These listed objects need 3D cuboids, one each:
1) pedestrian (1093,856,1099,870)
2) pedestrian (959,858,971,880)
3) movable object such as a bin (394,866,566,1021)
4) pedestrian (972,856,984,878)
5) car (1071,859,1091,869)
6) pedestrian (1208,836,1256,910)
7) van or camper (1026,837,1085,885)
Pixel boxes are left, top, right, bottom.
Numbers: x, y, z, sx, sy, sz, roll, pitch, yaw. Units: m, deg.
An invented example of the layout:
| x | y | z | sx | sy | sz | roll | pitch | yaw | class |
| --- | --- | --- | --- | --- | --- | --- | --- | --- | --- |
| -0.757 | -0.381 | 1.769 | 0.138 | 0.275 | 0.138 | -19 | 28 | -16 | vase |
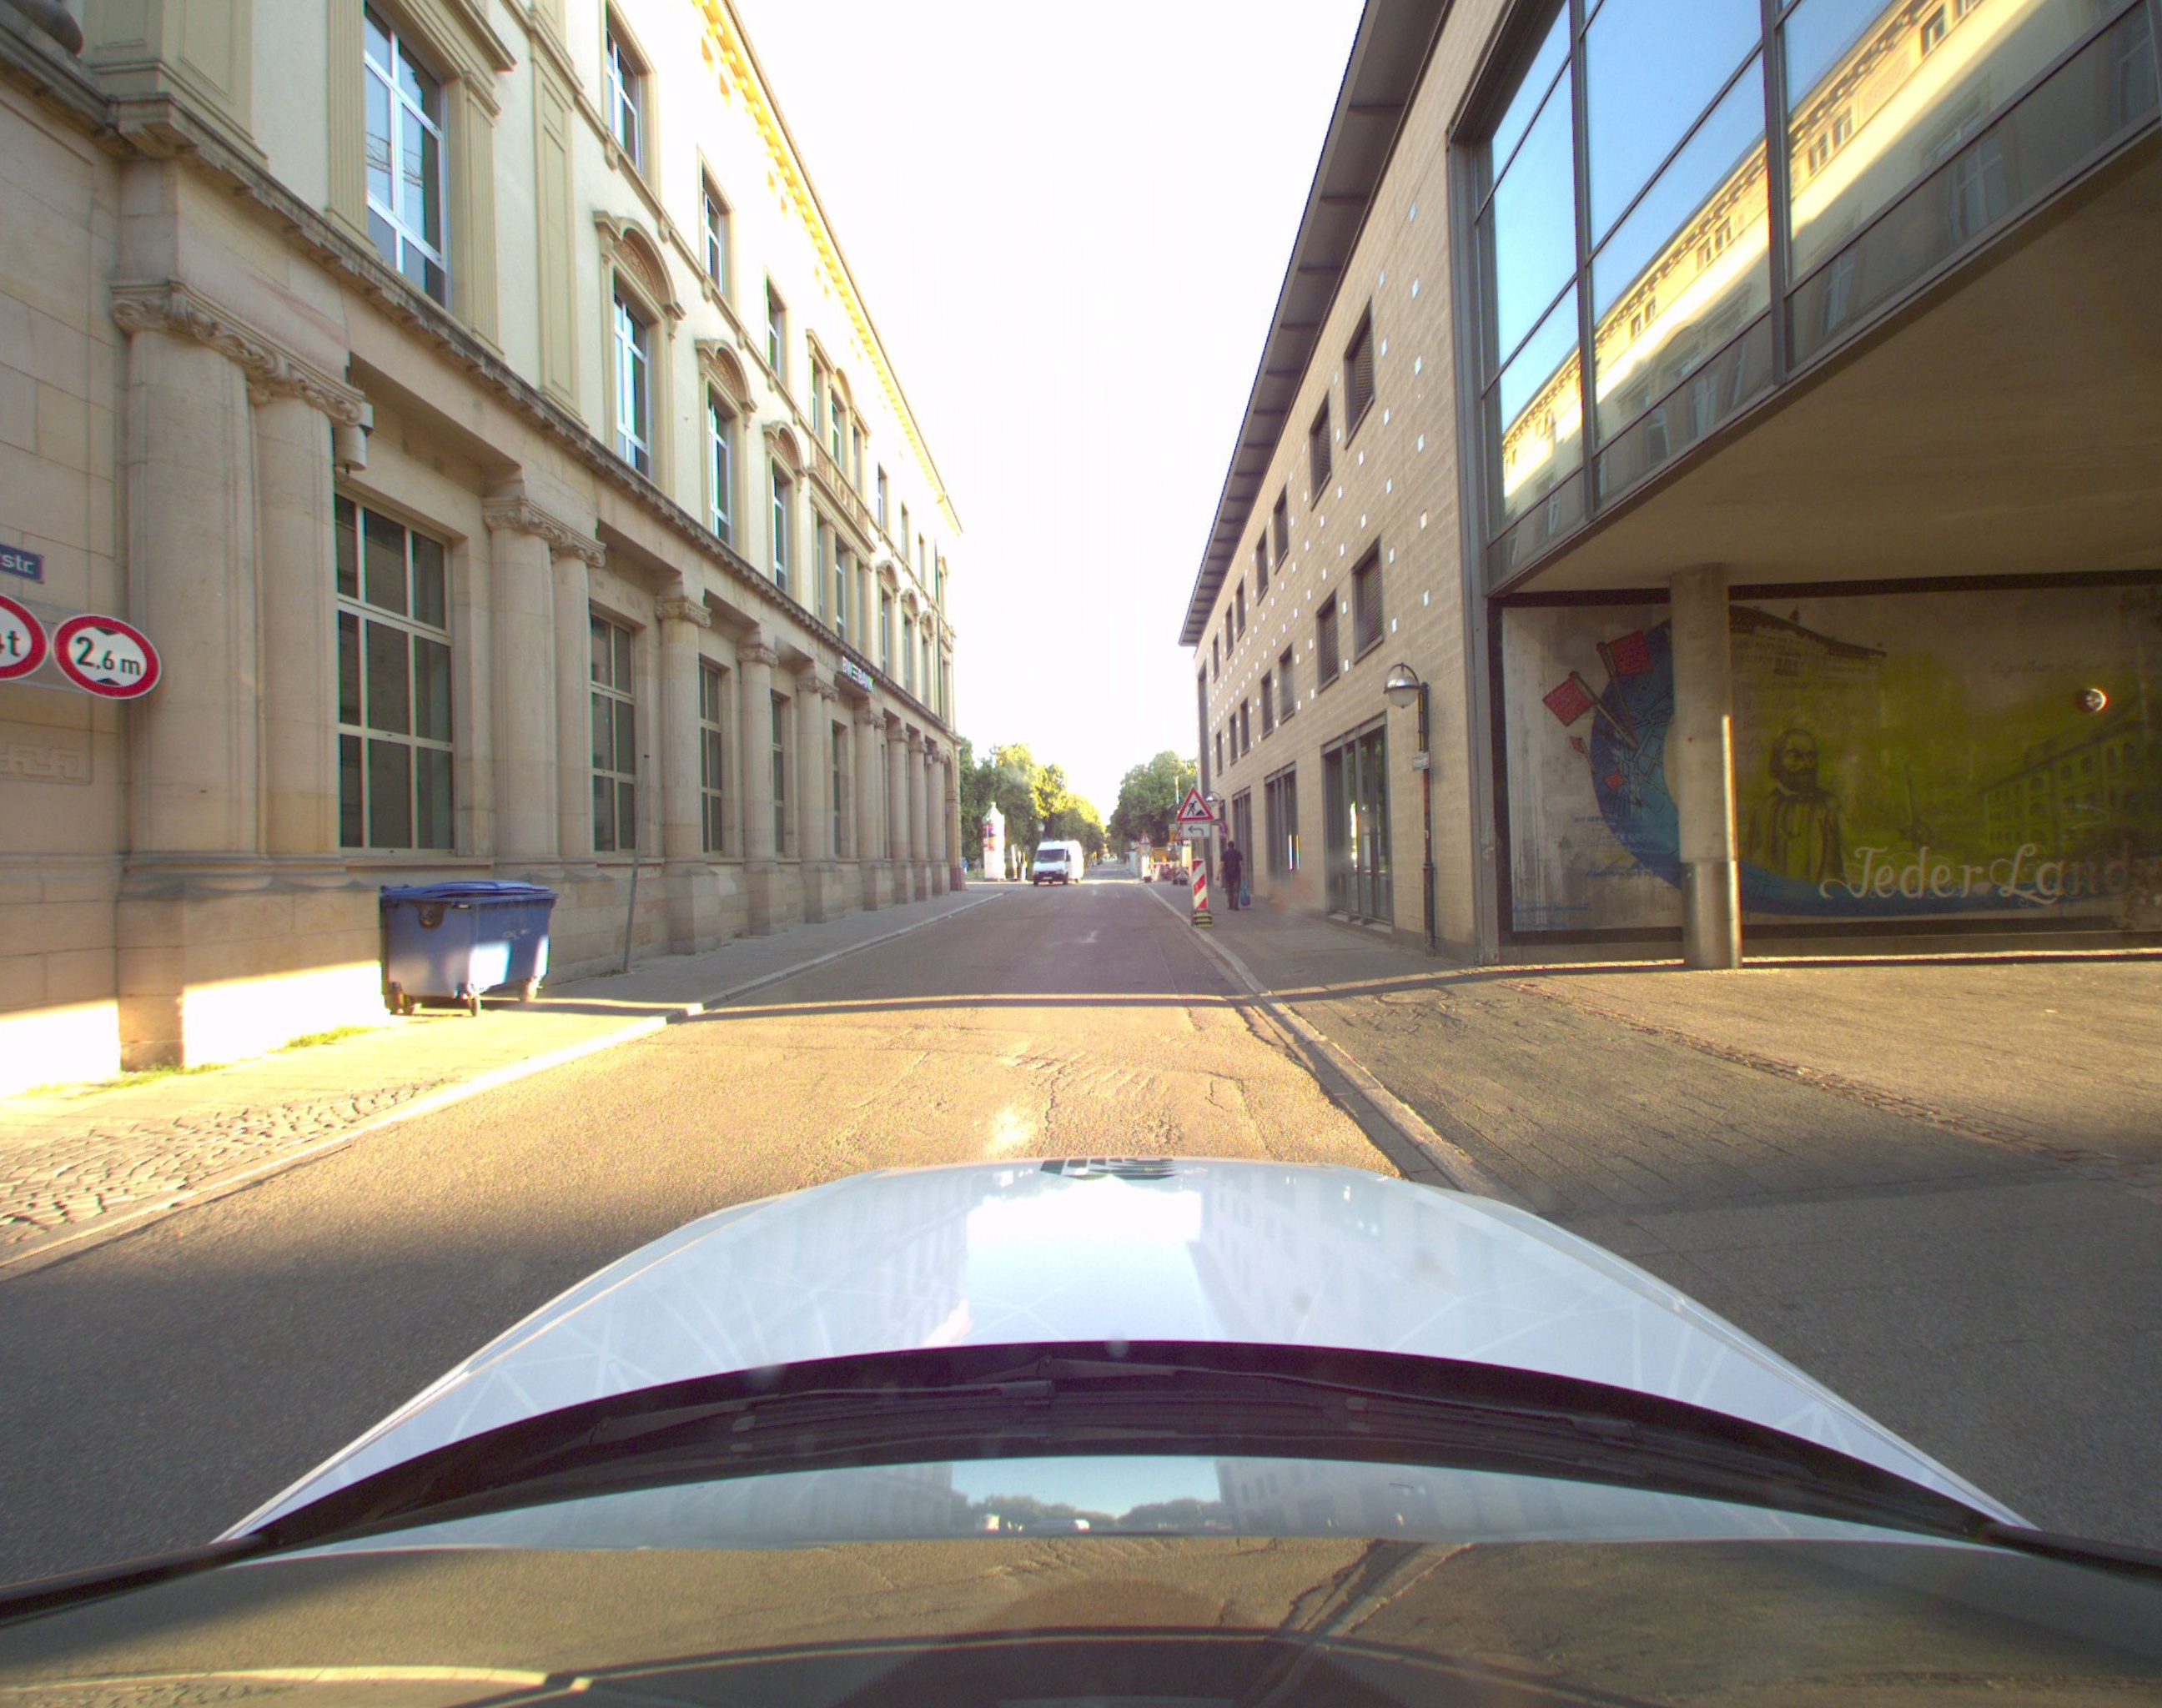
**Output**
| x | y | z | sx | sy | sz | roll | pitch | yaw | class |
| --- | --- | --- | --- | --- | --- | --- | --- | --- | --- |
| 2.108 | 1.247 | 115.152 | 0.609 | 2.014 | 0.902 | -1 | -1 | -6 | pedestrian |
| -9.422 | 1.207 | 66.140 | 0.850 | 1.807 | 0.661 | -1 | -1 | -11 | pedestrian |
| -6.390 | 0.898 | 8.749 | 0.825 | 1.503 | 1.292 | -1 | 0 | 3 | movable object such as a bin |
| -8.376 | 1.040 | 66.255 | 0.850 | 1.807 | 0.661 | -1 | -1 | -11 | pedestrian |
| 0.058 | 1.986 | 161.179 | 3.539 | 1.783 | 1.795 | -3 | -1 | 11 | car |
| 3.862 | 0.492 | 20.907 | 0.997 | 1.803 | 0.882 | -3 | -1 | 1 | pedestrian |
| -1.384 | 0.369 | 47.649 | 2.206 | 2.585 | 6.388 | -2 | 0 | 9 | van or camper |
